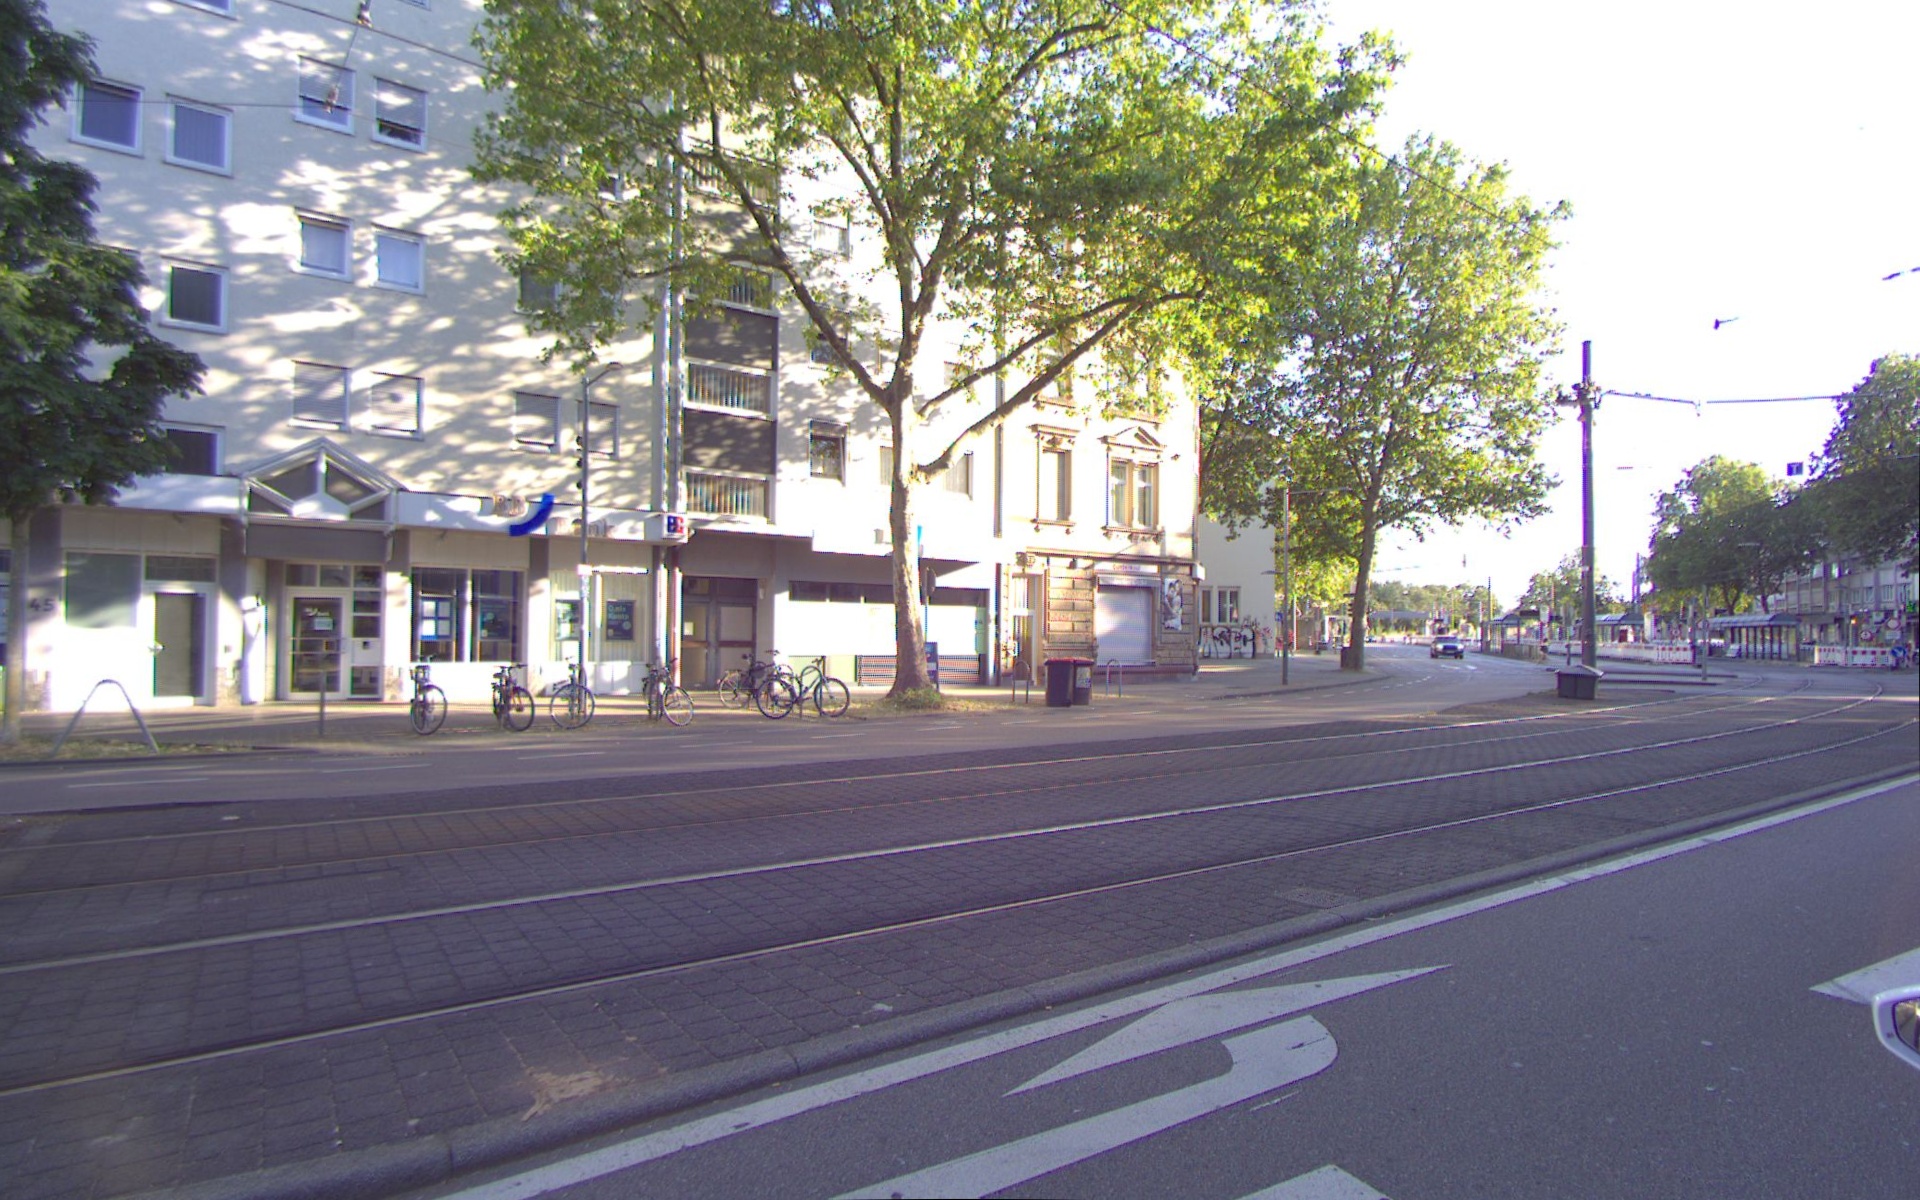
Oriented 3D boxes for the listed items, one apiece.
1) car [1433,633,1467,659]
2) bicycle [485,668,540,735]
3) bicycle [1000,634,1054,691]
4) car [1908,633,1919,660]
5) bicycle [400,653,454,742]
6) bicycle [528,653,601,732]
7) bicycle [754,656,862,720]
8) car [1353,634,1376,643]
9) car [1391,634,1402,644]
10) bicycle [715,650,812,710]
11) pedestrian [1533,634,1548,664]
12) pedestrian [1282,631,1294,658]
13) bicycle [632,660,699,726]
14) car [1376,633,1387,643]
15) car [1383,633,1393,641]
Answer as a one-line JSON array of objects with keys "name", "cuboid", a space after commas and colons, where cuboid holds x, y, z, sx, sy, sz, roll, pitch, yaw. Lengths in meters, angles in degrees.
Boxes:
[{"name": "car", "cuboid": [32.980, 3.097, 67.693, 1.962, 1.661, 3.997, 0, -2, 25]}, {"name": "bicycle", "cuboid": [-6.934, 1.539, 15.532, 0.467, 0.900, 1.729, 2, -1, -34]}, {"name": "bicycle", "cuboid": [1.800, 1.665, 27.209, 0.469, 1.430, 1.956, 1, -1, -29]}, {"name": "car", "cuboid": [64.418, 3.120, 65.773, 1.960, 1.815, 4.000, 2, -1, 20]}, {"name": "bicycle", "cuboid": [-7.836, 1.392, 14.743, 0.506, 1.153, 1.729, 2, -1, -34]}, {"name": "bicycle", "cuboid": [-6.350, 1.441, 16.075, 0.724, 1.128, 1.729, 2, -1, -34]}, {"name": "bicycle", "cuboid": [-2.729, 1.564, 18.104, 1.800, 1.091, 0.649, 2, -2, -29]}, {"name": "car", "cuboid": [78.253, 7.359, 194.268, 3.919, 1.661, 1.792, 0, -2, 13]}, {"name": "car", "cuboid": [78.787, 7.018, 181.330, 1.814, 1.706, 3.715, -2, -2, 23]}, {"name": "bicycle", "cuboid": [-3.908, 1.576, 20.005, 1.777, 1.132, 0.617, 2, -2, -29]}, {"name": "pedestrian", "cuboid": [33.167, 2.811, 57.369, 0.645, 1.678, 0.444, 0, -2, 18]}, {"name": "pedestrian", "cuboid": [18.684, 2.536, 57.269, 0.485, 1.533, 0.608, -1, -2, 37]}, {"name": "bicycle", "cuboid": [-5.051, 1.561, 17.167, 0.584, 1.002, 1.729, 2, -1, -34]}, {"name": "car", "cuboid": [79.467, 7.181, 189.313, 1.814, 1.706, 3.716, 0, -2, 23]}, {"name": "car", "cuboid": [89.587, 7.727, 210.261, 1.814, 1.706, 3.716, 0, -2, 23]}]
